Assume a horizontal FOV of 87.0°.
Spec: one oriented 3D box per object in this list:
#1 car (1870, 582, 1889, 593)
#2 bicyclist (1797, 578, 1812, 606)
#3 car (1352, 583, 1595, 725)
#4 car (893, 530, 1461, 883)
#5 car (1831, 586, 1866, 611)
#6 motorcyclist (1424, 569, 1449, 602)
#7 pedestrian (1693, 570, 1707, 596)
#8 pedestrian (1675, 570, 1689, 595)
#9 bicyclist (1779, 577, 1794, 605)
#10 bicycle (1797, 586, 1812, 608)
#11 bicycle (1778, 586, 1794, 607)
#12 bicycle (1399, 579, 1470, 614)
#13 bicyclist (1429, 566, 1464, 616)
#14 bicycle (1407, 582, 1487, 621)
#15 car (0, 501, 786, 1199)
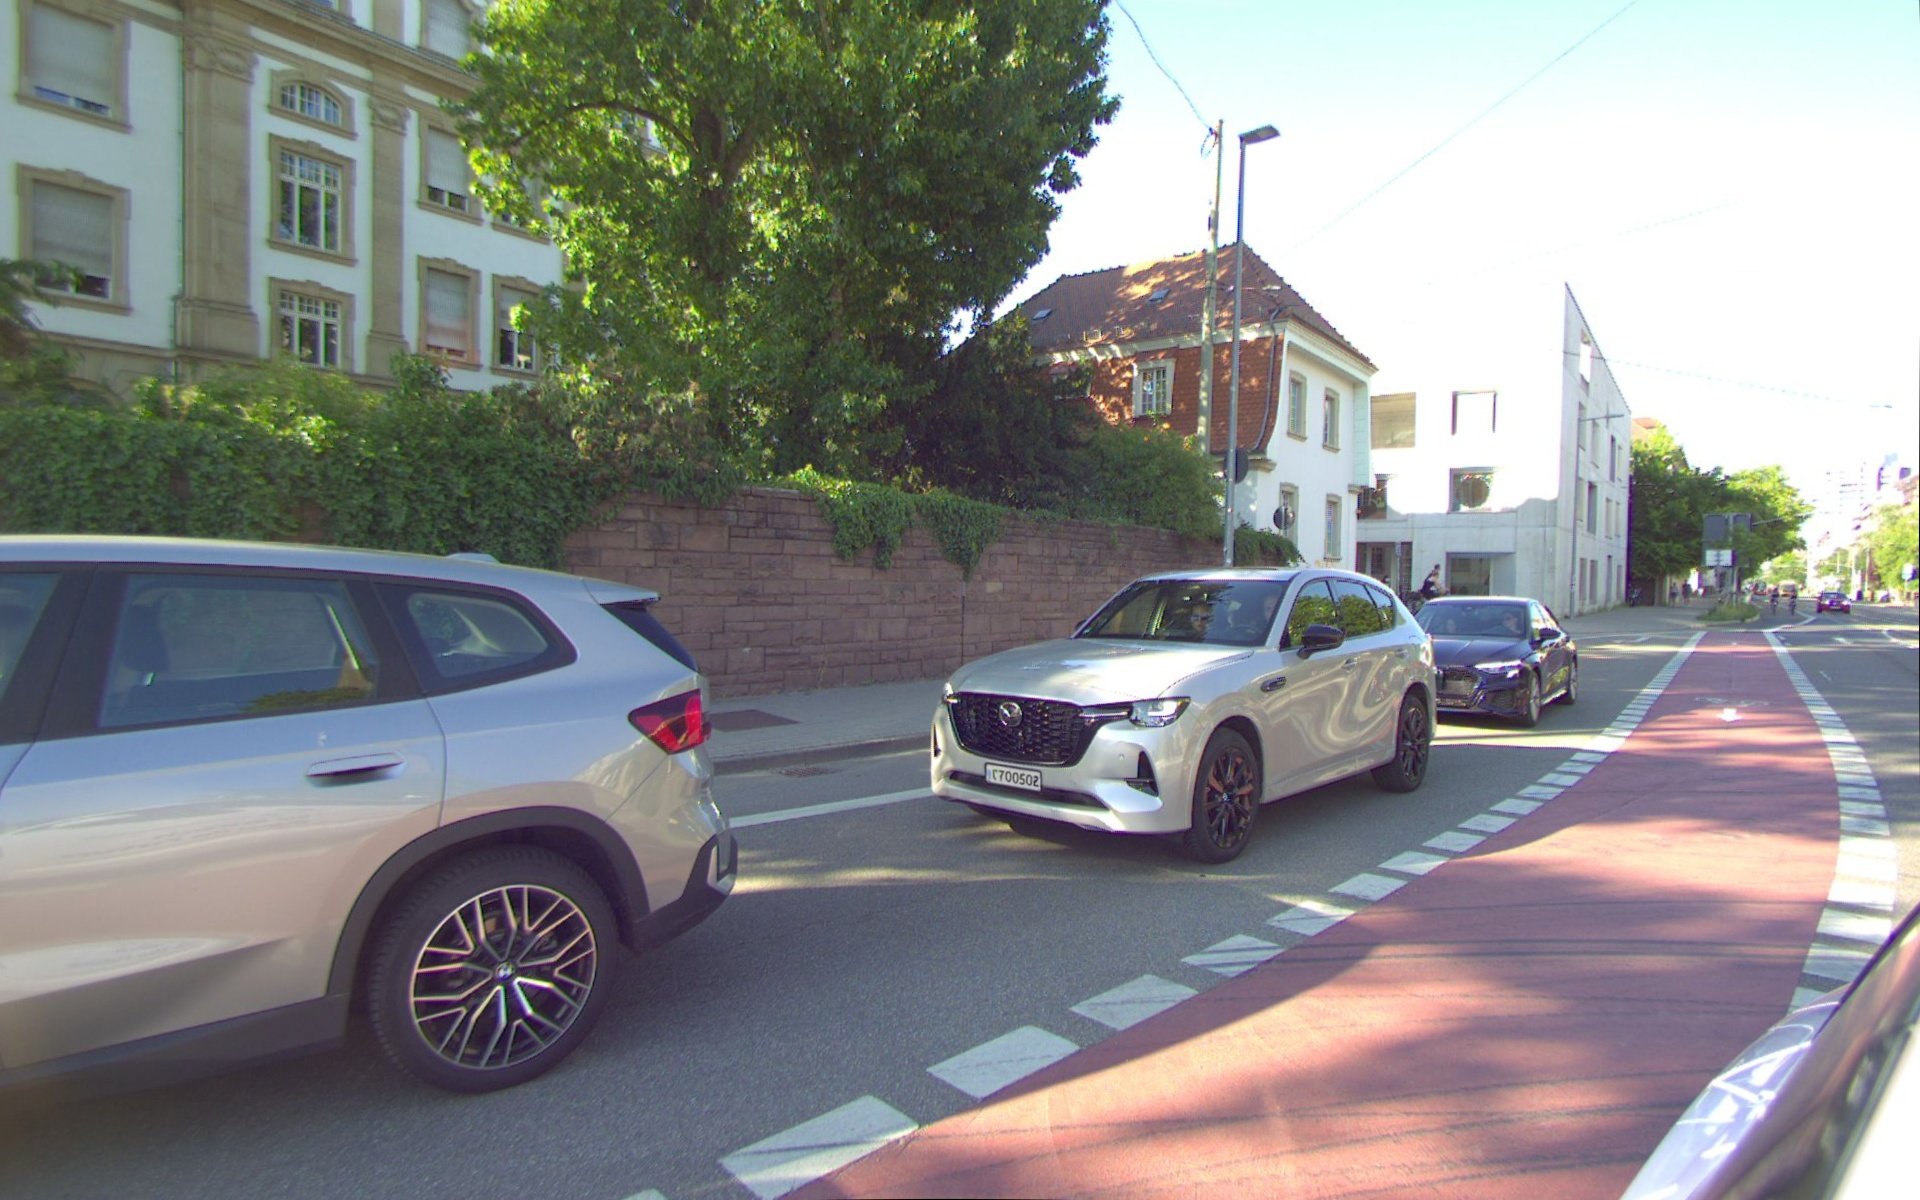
[{"bbox_3d":[127.267,-1.710,140.087,1.640,1.580,3.602,0,0,36],"label":"car"},{"bbox_3d":[51.614,-0.509,61.840,0.673,1.667,1.014,2,2,40],"label":"bicyclist"},{"bbox_3d":[6.413,0.526,12.436,1.782,1.451,3.941,0,1,41],"label":"car"},{"bbox_3d":[1.811,0.492,7.226,1.940,1.713,4.460,0,1,44],"label":"car"},{"bbox_3d":[59.396,-0.111,67.618,1.644,1.580,3.593,0,0,44],"label":"car"},{"bbox_3d":[18.398,-0.564,39.092,0.845,1.266,0.670,2,2,26],"label":"motorcyclist"},{"bbox_3d":[48.913,-1.138,66.892,0.673,1.668,0.806,1,1,40],"label":"pedestrian"},{"bbox_3d":[48.205,-1.154,67.536,0.673,1.668,0.806,1,1,40],"label":"pedestrian"},{"bbox_3d":[51.074,-0.560,62.545,0.673,1.667,1.014,2,2,40],"label":"bicyclist"},{"bbox_3d":[51.606,-0.194,61.848,0.673,1.265,2.421,2,2,40],"label":"bicycle"},{"bbox_3d":[51.085,-0.229,62.580,0.673,1.265,2.421,2,2,40],"label":"bicycle"},{"bbox_3d":[18.331,-0.145,39.136,2.432,1.266,0.670,2,2,26],"label":"bicycle"},{"bbox_3d":[16.850,-0.318,35.094,1.018,1.667,0.670,2,2,23],"label":"bicyclist"},{"bbox_3d":[16.845,0.031,35.103,2.429,1.266,0.671,2,2,23],"label":"bicycle"},{"bbox_3d":[-2.831,0.577,2.955,4.248,1.614,1.792,0,0,-36],"label":"car"}]
